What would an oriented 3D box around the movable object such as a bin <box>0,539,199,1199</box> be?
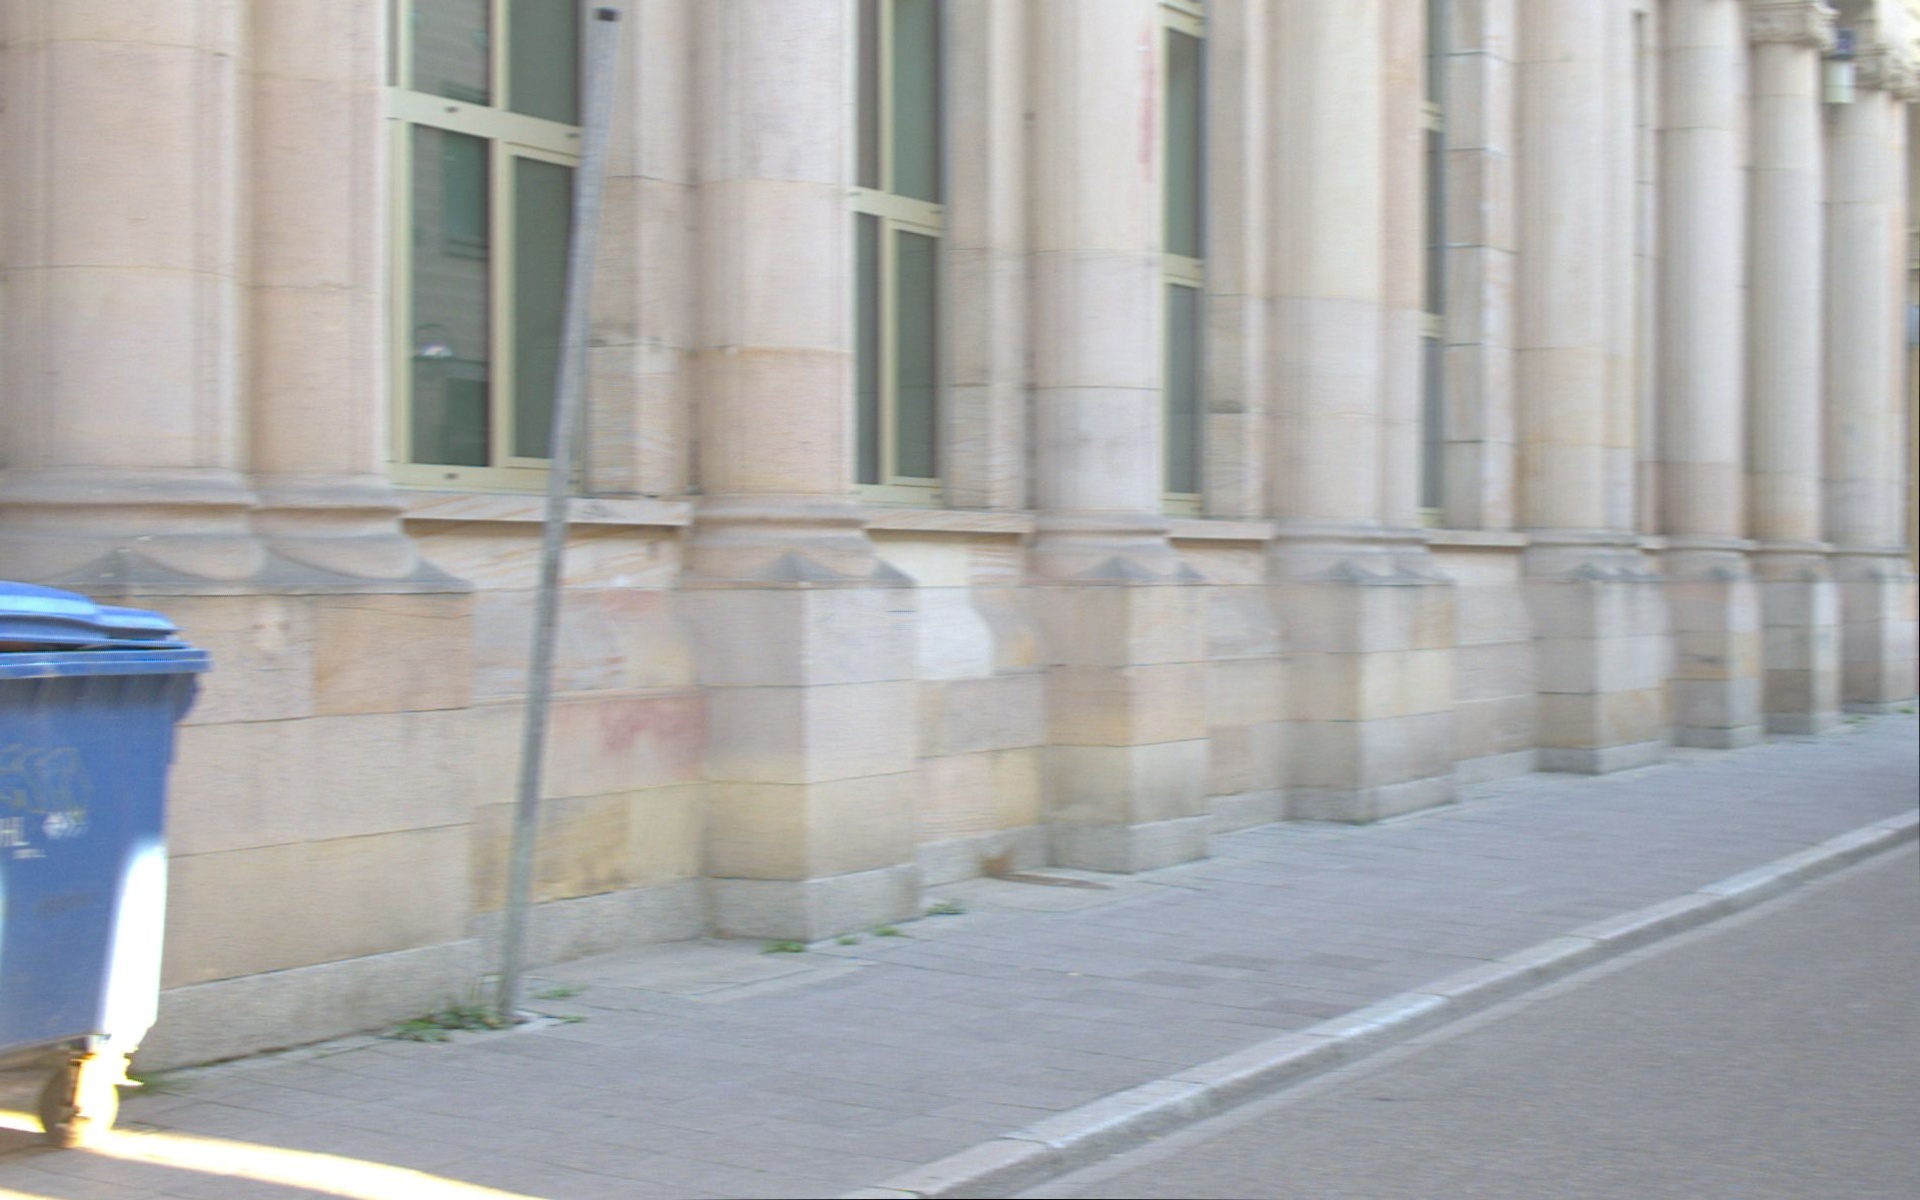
[{"bbox_3d":[-2.592,0.592,7.959,1.076,1.469,1.185,2,1,30],"label":"movable object such as a bin"}]
